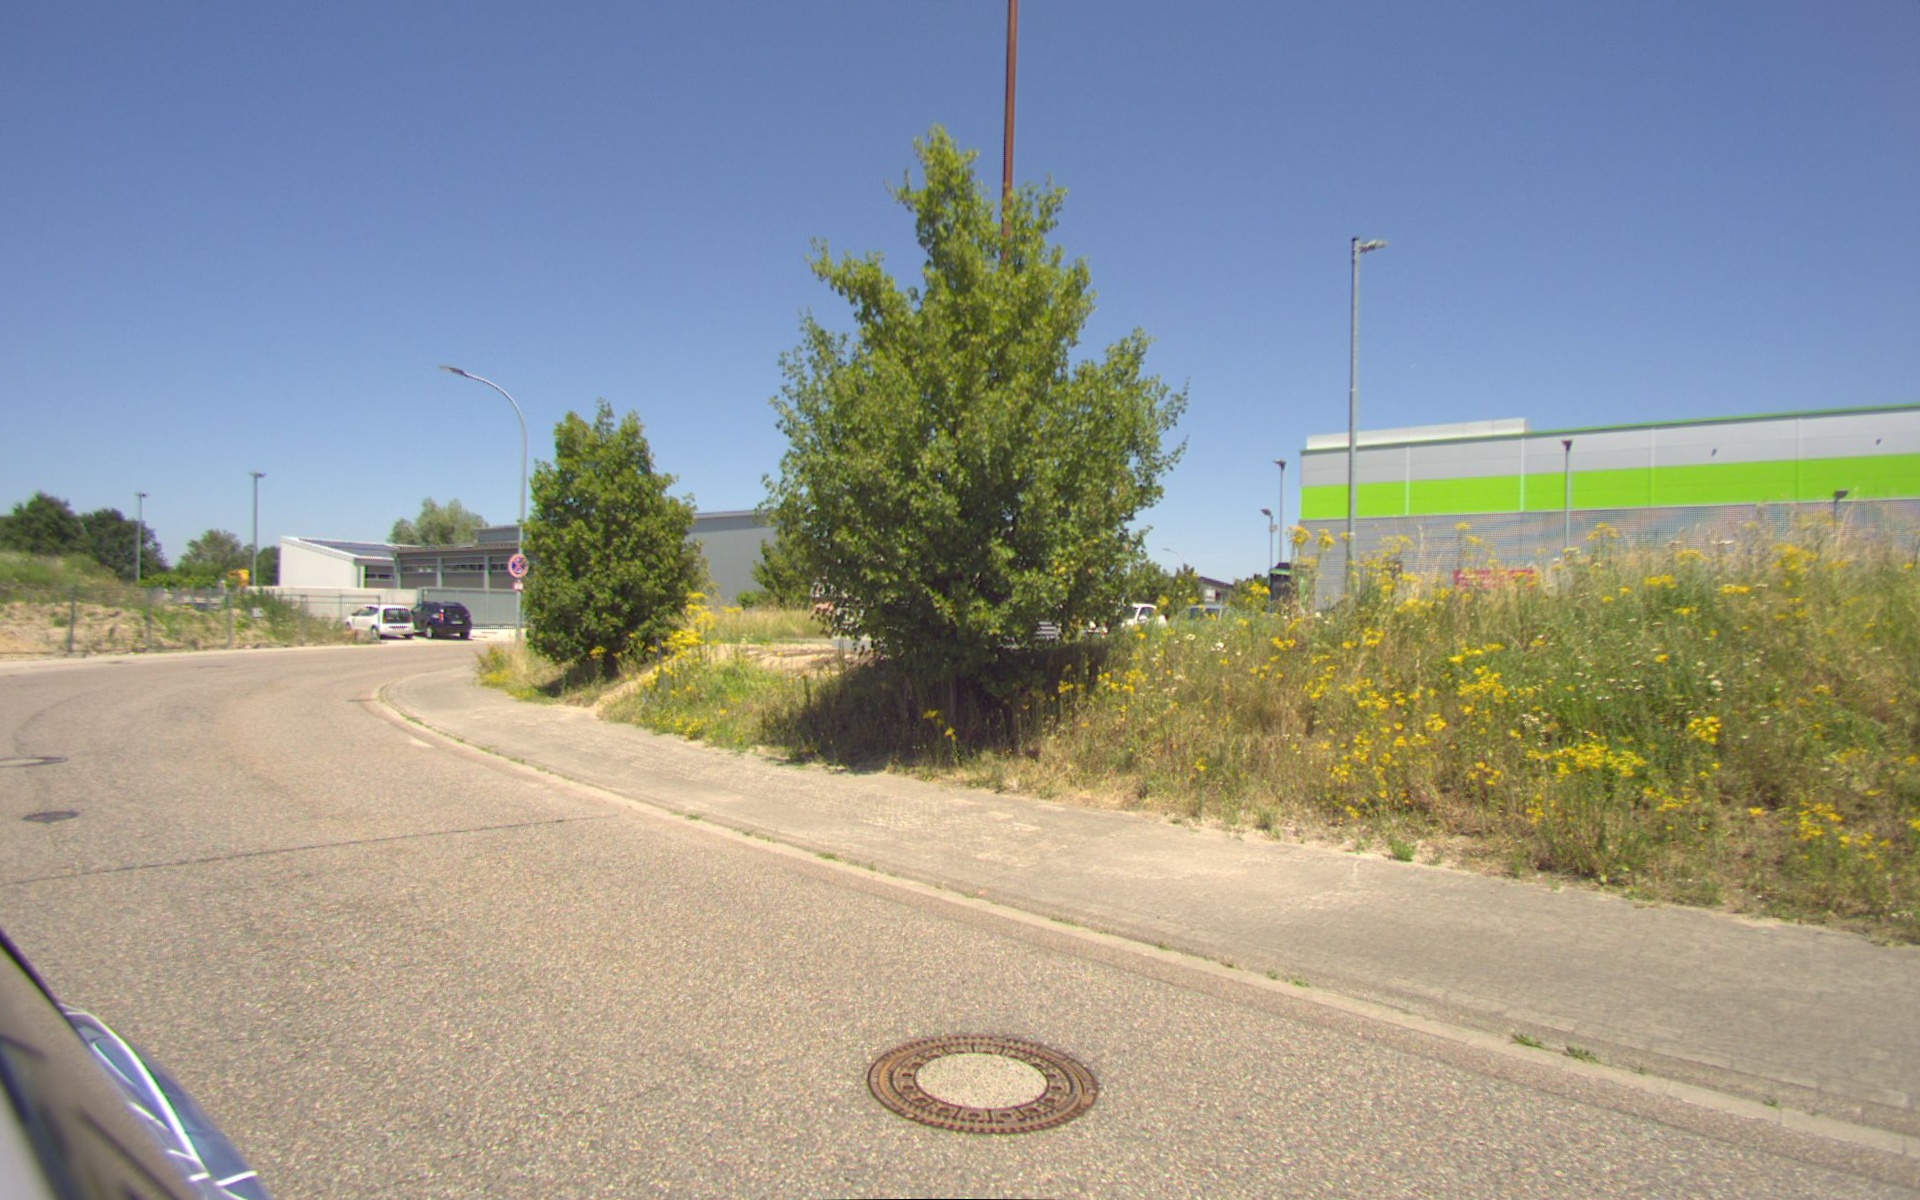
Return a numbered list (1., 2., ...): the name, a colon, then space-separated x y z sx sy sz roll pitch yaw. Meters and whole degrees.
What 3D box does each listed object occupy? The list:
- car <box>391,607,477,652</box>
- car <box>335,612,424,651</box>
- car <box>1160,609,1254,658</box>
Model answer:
1. car: -24.509 1.351 47.111 4.015 1.667 1.835 5 1 36
2. car: -25.982 1.389 45.254 4.014 1.473 1.870 3 0 35
3. car: 7.543 1.029 30.727 1.637 1.410 3.755 -1 -3 33
